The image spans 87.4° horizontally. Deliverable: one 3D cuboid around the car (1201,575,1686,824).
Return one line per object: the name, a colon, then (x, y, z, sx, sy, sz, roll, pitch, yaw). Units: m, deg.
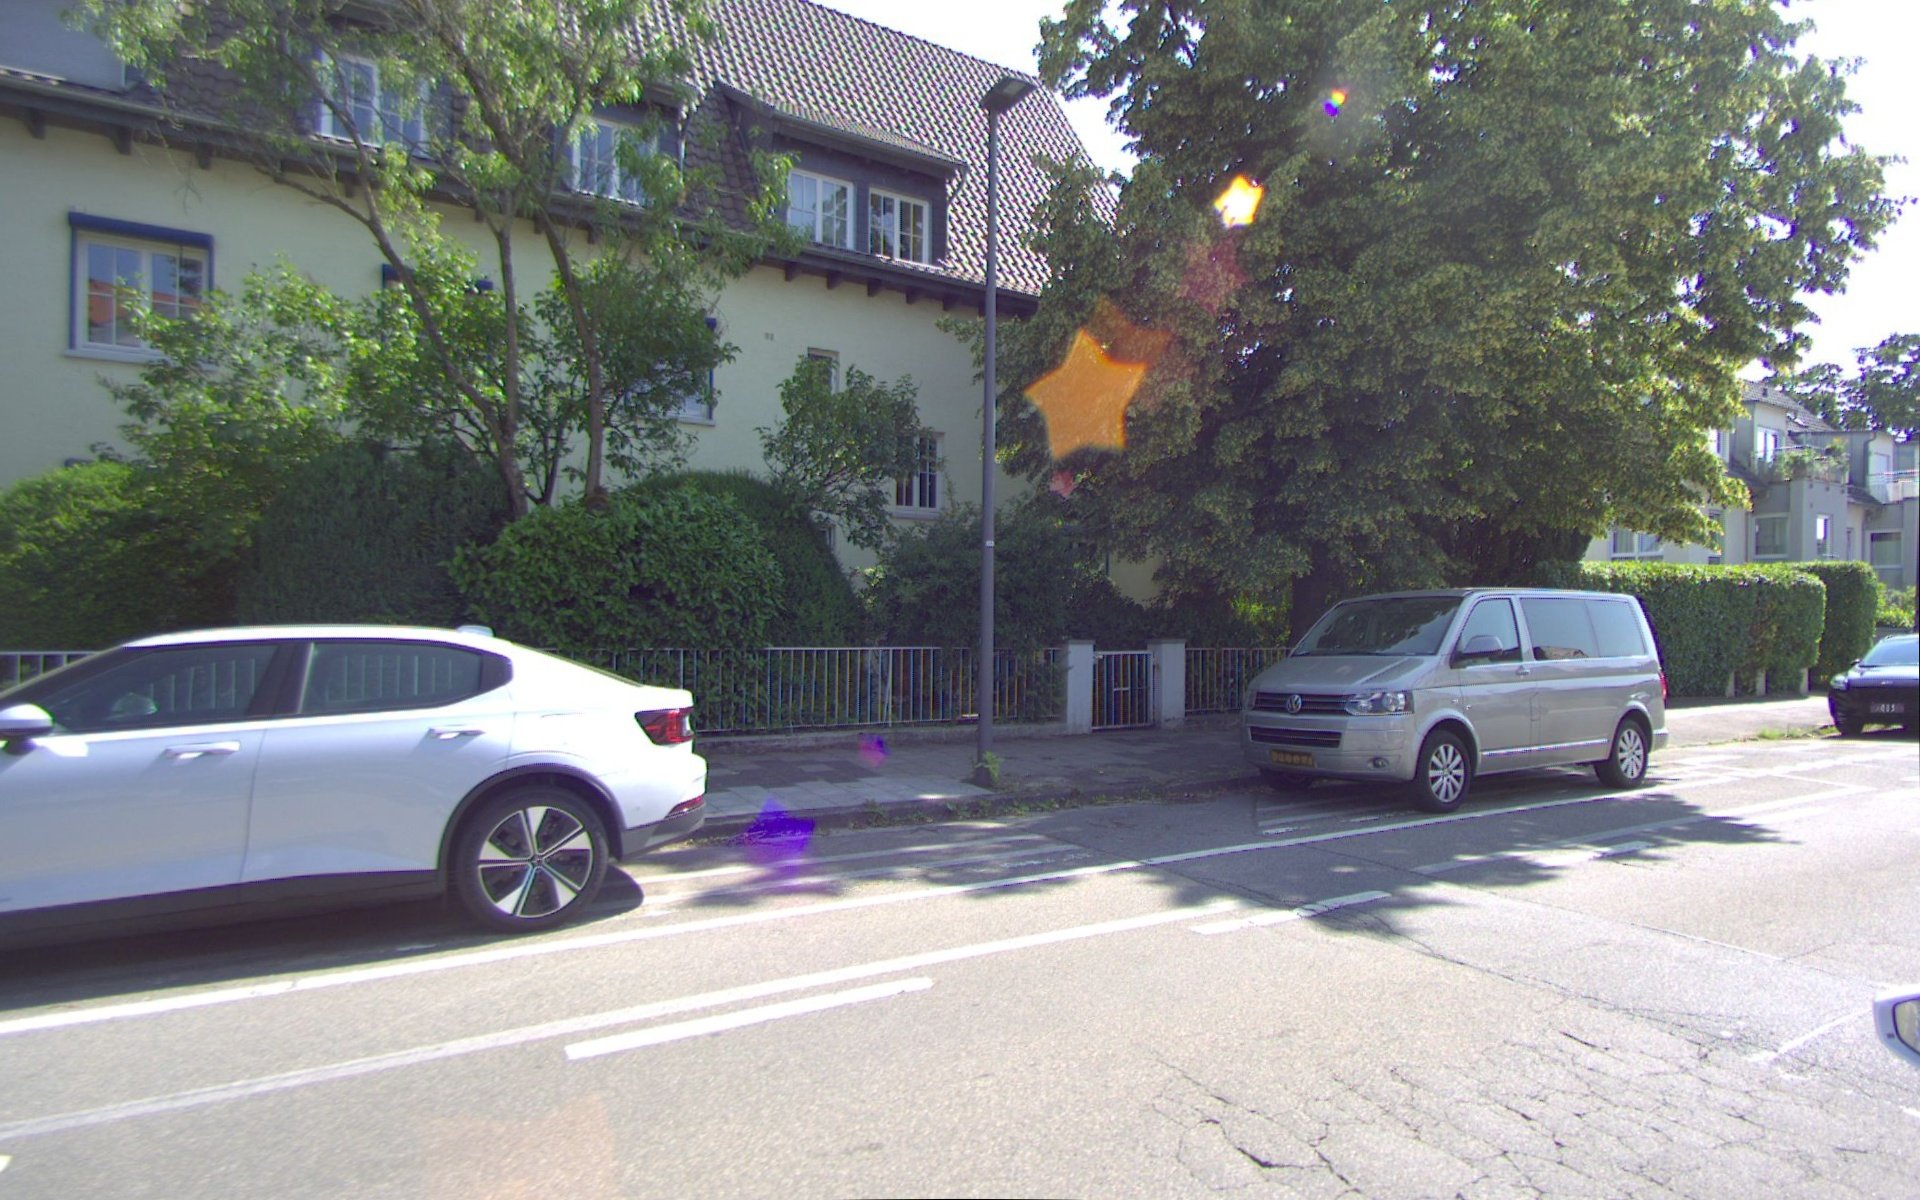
car: (4.824, 0.870, 9.867, 4.810, 1.944, 1.877, 1, -3, -30)

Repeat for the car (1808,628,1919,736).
car: (16.250, 1.330, 16.725, 4.396, 1.631, 1.843, 2, -4, -30)

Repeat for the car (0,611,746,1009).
car: (-3.522, 0.853, 4.965, 4.509, 1.505, 1.825, 1, -3, -31)
